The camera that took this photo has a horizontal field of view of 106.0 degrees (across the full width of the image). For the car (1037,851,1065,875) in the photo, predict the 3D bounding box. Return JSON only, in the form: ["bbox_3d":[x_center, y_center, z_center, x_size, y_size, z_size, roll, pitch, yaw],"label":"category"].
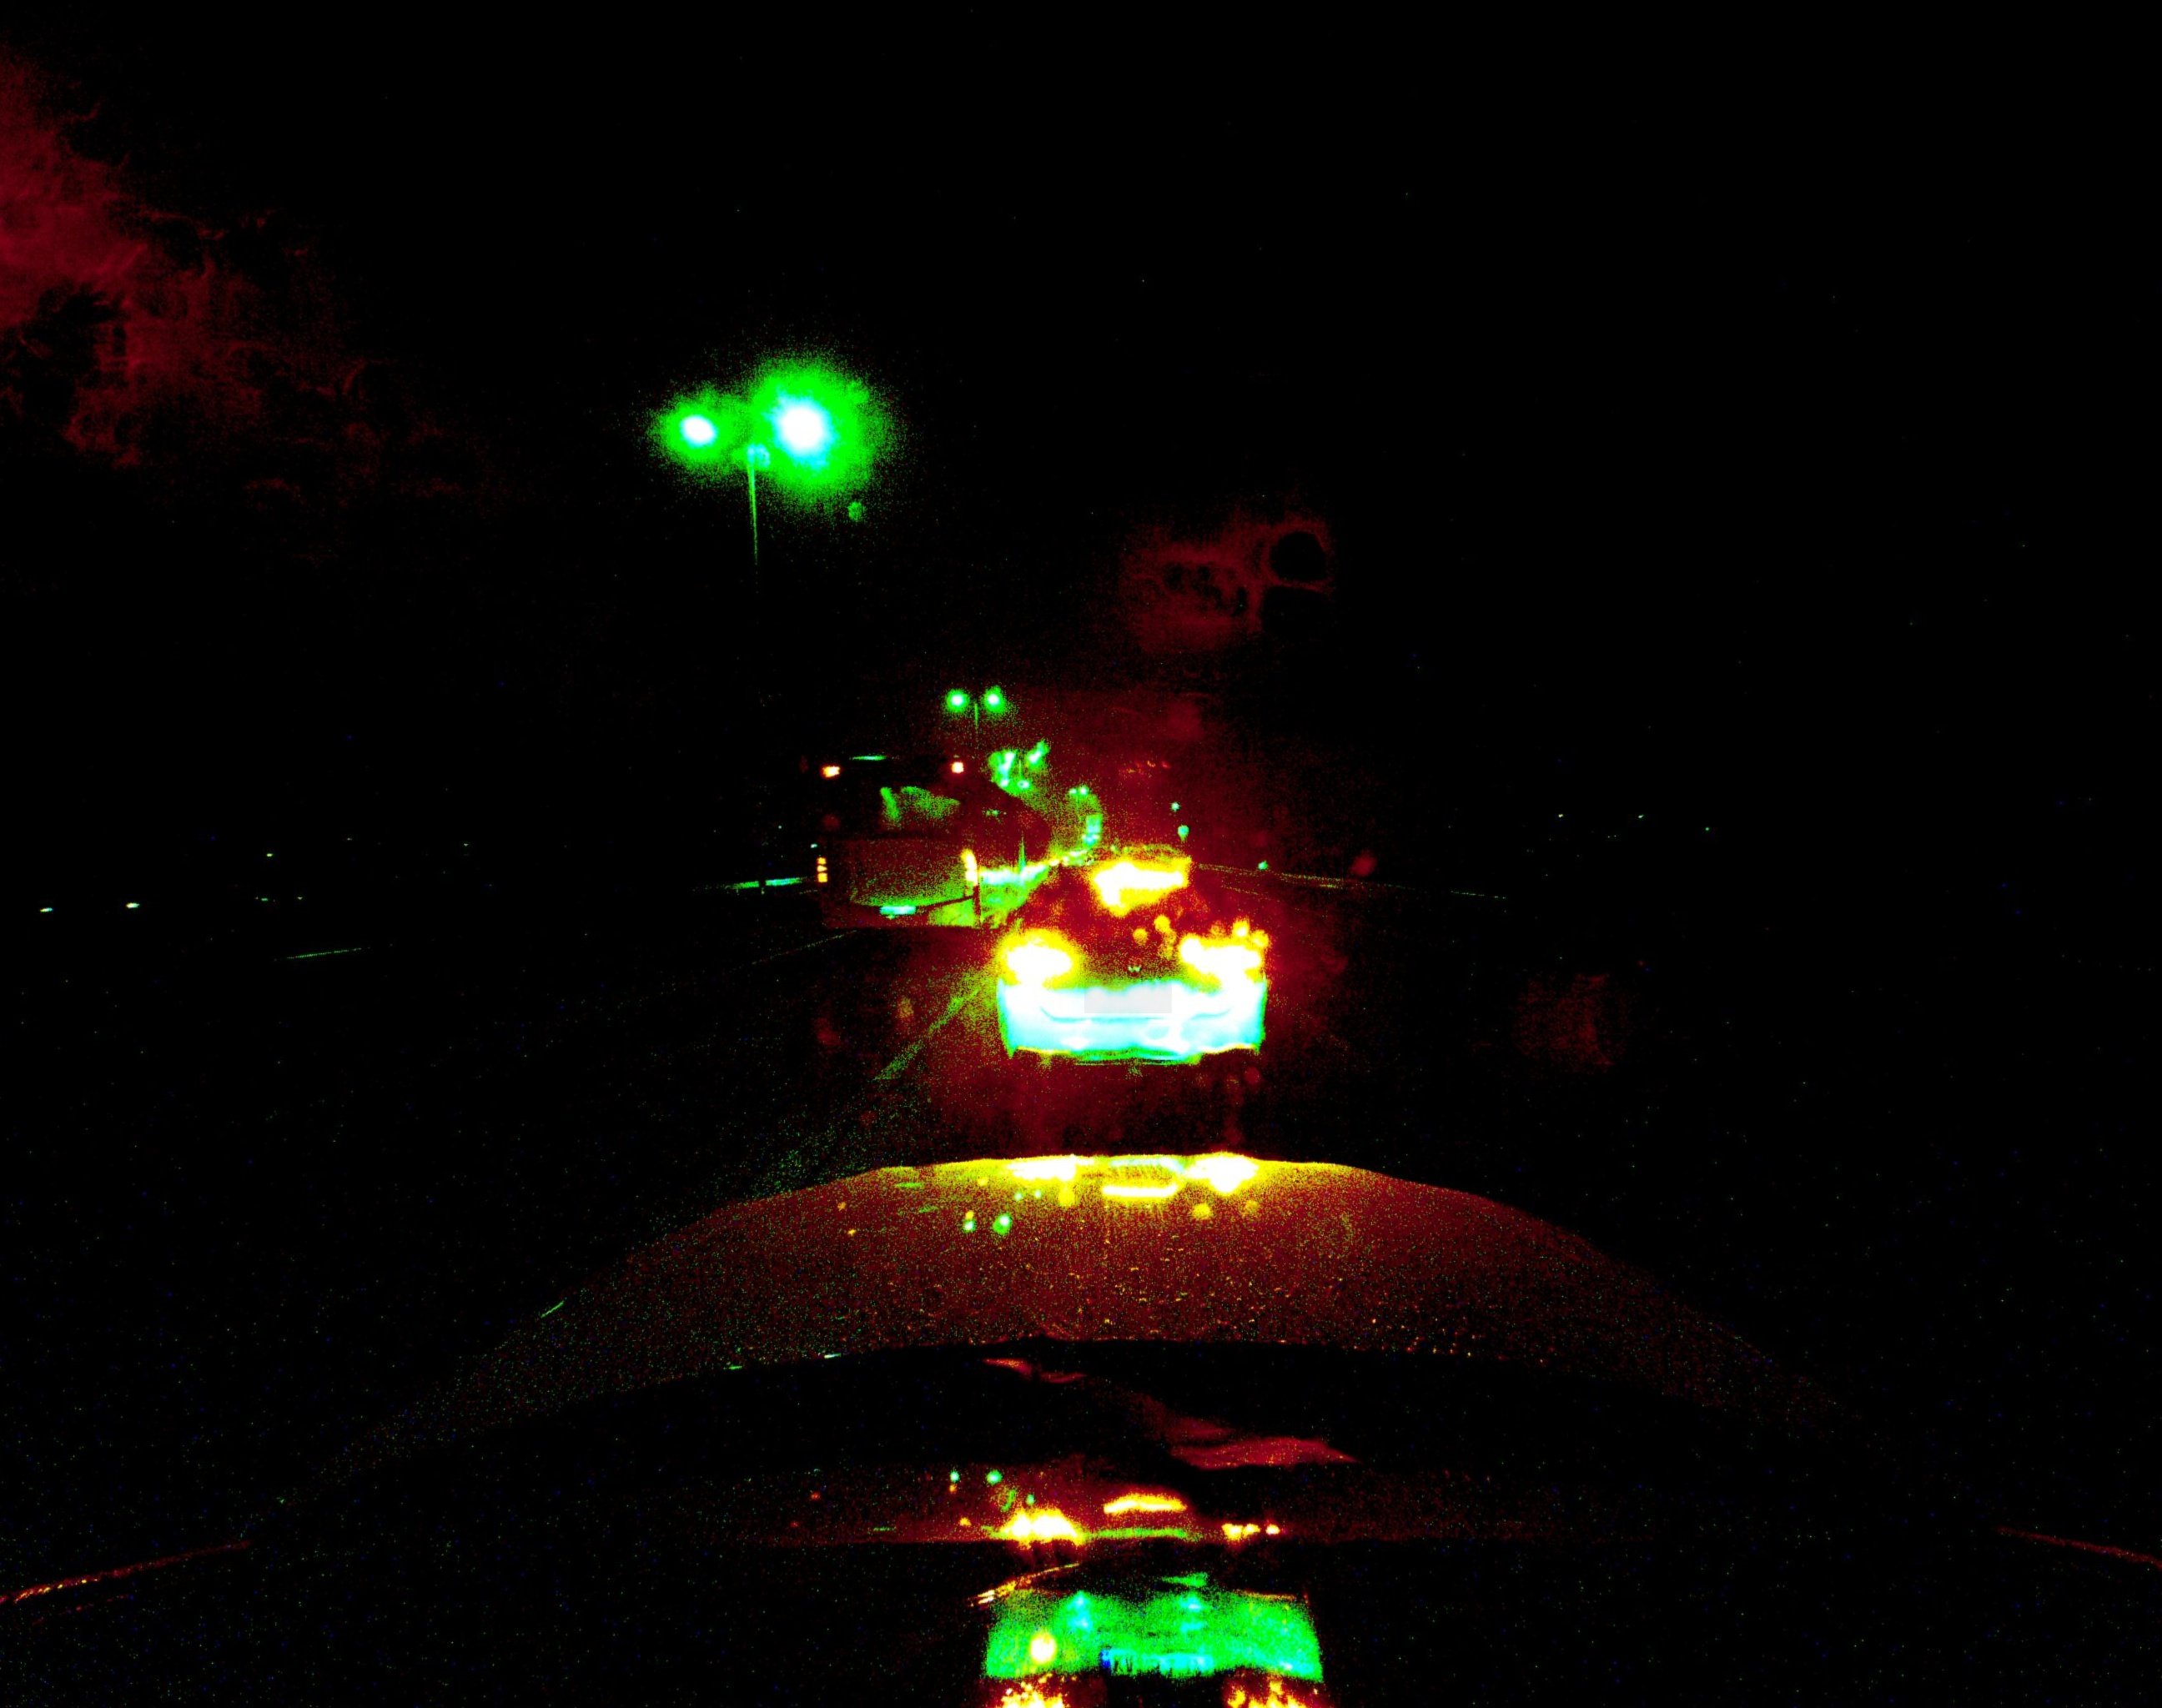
[{"bbox_3d":[-2.060,0.595,56.440,1.774,1.543,3.874,-1,0,0],"label":"car"}]

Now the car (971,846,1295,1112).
[{"bbox_3d":[0.483,0.706,6.900,1.813,1.484,4.574,-1,0,5],"label":"car"}]

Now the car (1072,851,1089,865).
[{"bbox_3d":[-0.017,0.477,94.073,1.773,1.543,3.876,-1,0,1],"label":"car"}]

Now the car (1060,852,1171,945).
[{"bbox_3d":[0.544,0.699,15.216,1.726,1.449,4.724,-1,0,0],"label":"car"}]

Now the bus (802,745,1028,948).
[{"bbox_3d":[-2.788,-0.131,16.626,2.806,3.024,8.685,-1,0,0],"label":"bus"}]

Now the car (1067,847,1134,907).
[{"bbox_3d":[0.482,0.594,23.411,1.735,1.565,3.774,-1,0,-2],"label":"car"}]

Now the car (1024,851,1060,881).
[{"bbox_3d":[-2.088,0.619,44.022,1.774,1.543,3.873,-1,0,-1],"label":"car"}]

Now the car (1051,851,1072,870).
[{"bbox_3d":[-1.739,0.538,70.983,1.775,1.543,3.872,-1,0,-2],"label":"car"}]

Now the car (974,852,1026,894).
[{"bbox_3d":[-3.197,0.709,32.686,1.775,1.543,3.872,-1,0,-2],"label":"car"}]

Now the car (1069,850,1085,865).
[{"bbox_3d":[-0.529,0.499,111.027,1.986,2.013,4.002,-1,0,2],"label":"car"}]
